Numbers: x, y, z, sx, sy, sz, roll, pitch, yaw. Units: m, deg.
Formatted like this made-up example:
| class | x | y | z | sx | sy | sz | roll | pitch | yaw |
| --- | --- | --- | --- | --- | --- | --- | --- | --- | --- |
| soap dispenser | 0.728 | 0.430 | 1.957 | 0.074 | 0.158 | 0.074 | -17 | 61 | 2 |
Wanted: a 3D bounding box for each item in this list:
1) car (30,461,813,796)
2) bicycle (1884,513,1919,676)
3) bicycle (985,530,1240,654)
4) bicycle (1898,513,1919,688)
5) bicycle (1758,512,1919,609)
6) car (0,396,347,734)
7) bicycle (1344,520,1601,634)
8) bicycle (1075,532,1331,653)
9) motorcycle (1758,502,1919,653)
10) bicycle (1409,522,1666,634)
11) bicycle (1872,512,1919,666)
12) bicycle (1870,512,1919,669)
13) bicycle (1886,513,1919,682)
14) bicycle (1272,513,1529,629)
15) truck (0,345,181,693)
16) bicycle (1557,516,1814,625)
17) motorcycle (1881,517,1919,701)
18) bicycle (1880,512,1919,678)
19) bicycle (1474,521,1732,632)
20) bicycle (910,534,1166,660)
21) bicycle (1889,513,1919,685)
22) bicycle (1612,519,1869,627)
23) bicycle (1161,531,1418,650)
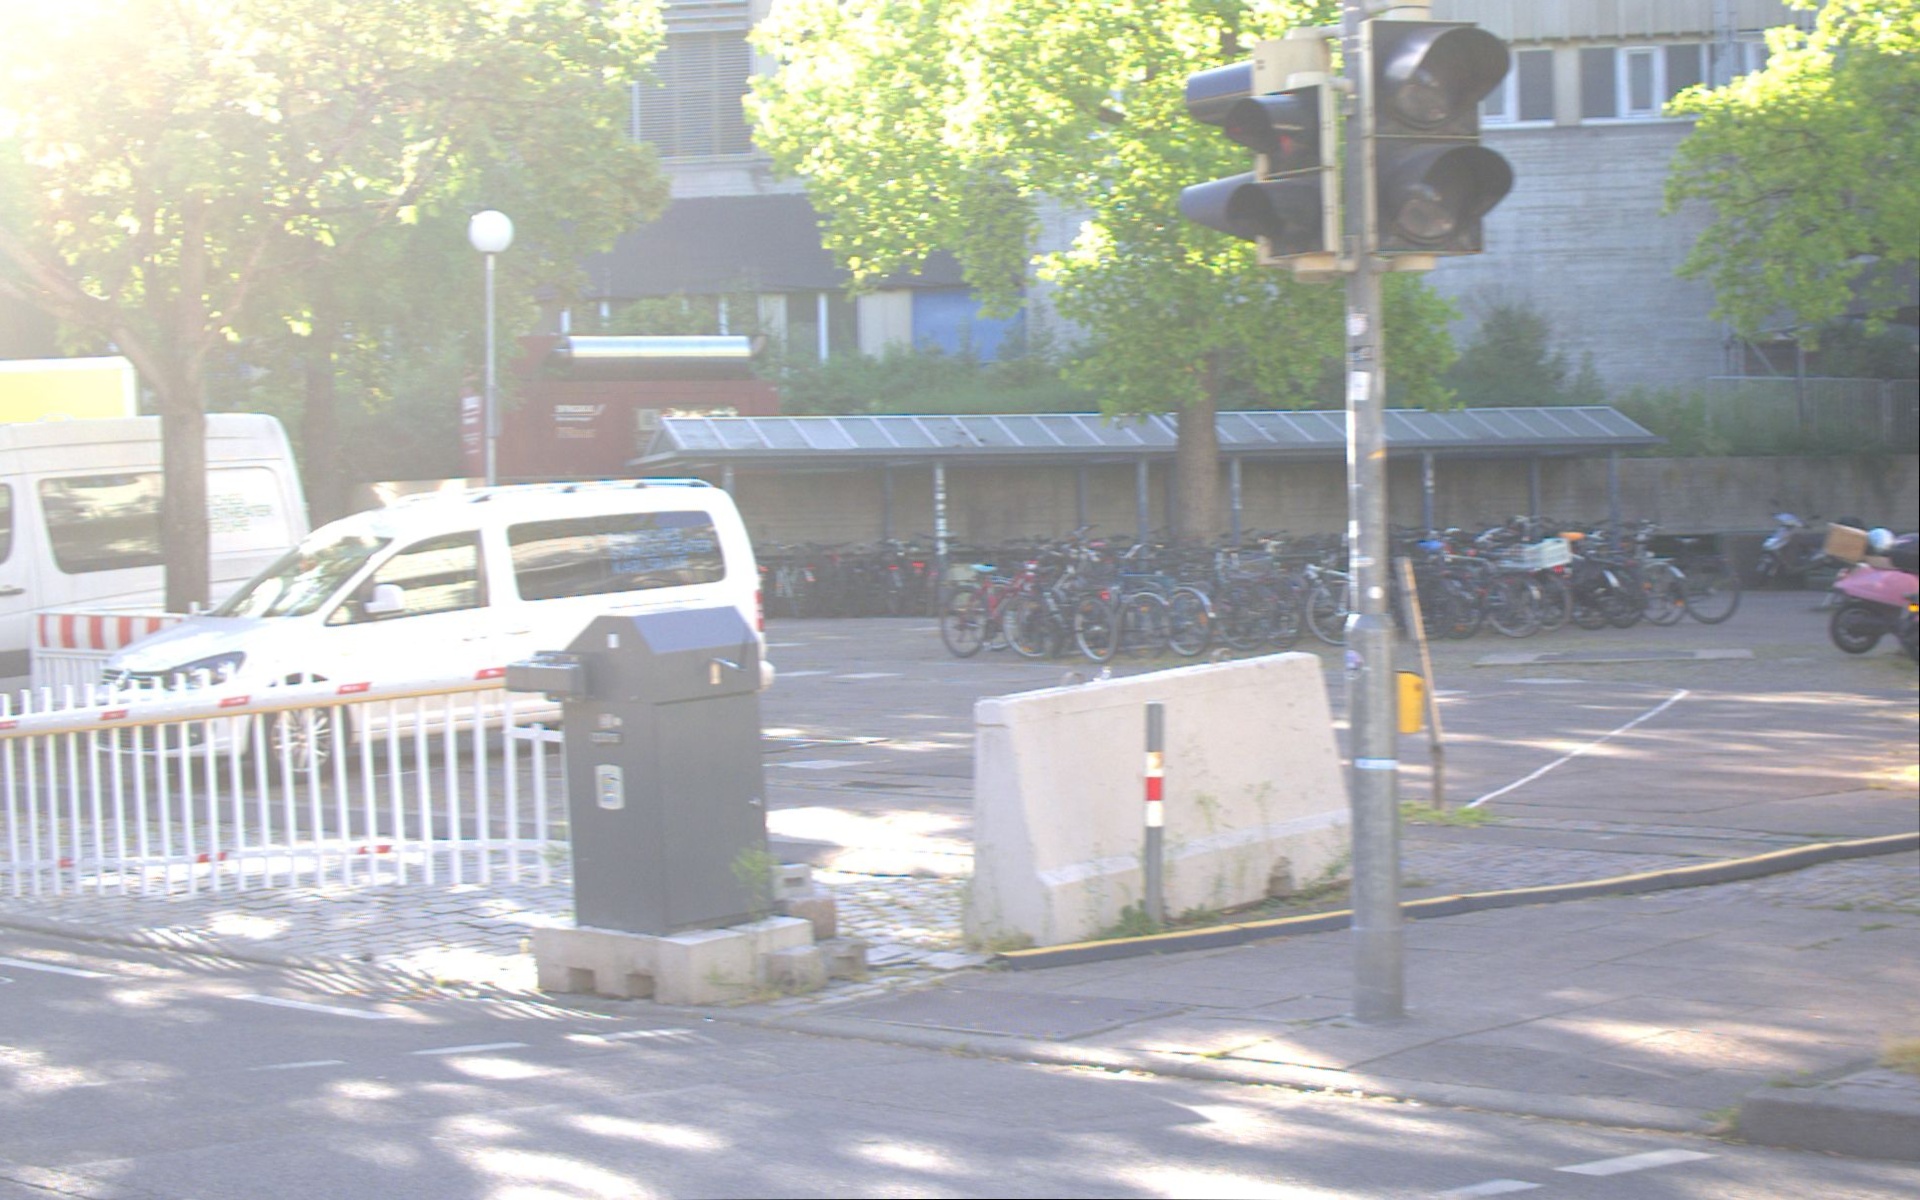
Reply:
| class | x | y | z | sx | sy | sz | roll | pitch | yaw |
| --- | --- | --- | --- | --- | --- | --- | --- | --- | --- |
| car | -3.672 | 0.114 | 23.966 | 4.933 | 1.886 | 2.010 | -5 | 3 | -37 |
| bicycle | 8.309 | -0.081 | 26.835 | 2.044 | 1.253 | 0.543 | -2 | 1 | 10 |
| bicycle | 1.467 | -0.075 | 33.993 | 0.819 | 1.143 | 3.089 | -3 | 2 | -34 |
| bicycle | 7.872 | -0.033 | 24.837 | 2.044 | 1.253 | 0.471 | -2 | 1 | 10 |
| bicycle | 11.119 | -0.479 | 41.599 | 0.819 | 1.143 | 3.089 | -3 | 2 | -34 |
| car | -7.950 | -0.244 | 28.366 | 1.999 | 2.521 | 5.368 | -1 | 5 | 45 |
| bicycle | 5.439 | -0.243 | 36.710 | 0.819 | 1.143 | 3.089 | -3 | 2 | -34 |
| bicycle | 2.406 | -0.076 | 34.653 | 0.819 | 1.143 | 3.089 | -3 | 2 | -34 |
| motorcycle | 8.094 | -0.212 | 29.857 | 2.205 | 1.253 | 0.543 | -2 | 1 | 10 |
| bicycle | 6.204 | -0.233 | 37.174 | 0.819 | 1.143 | 3.089 | -3 | 2 | -34 |
| bicycle | 8.680 | -0.123 | 28.586 | 2.044 | 1.253 | 0.543 | -2 | 1 | 10 |
| bicycle | 8.515 | -0.109 | 28.012 | 2.044 | 1.253 | 0.543 | -2 | 1 | 10 |
| bicycle | 8.047 | -0.056 | 25.804 | 2.044 | 1.253 | 0.471 | -2 | 1 | 10 |
| bicycle | 4.588 | -0.292 | 36.118 | 0.819 | 1.143 | 3.089 | -3 | 2 | -34 |
| truck | -11.335 | -0.657 | 32.999 | 7.101 | 3.336 | 2.389 | -5 | 3 | -42 |
| bicycle | 8.047 | -0.318 | 38.323 | 0.819 | 1.143 | 3.089 | -3 | 2 | -34 |
| motorcycle | 7.554 | 0.025 | 23.786 | 2.205 | 1.253 | 0.543 | -2 | 1 | 10 |
| bicycle | 8.135 | -0.068 | 26.309 | 2.044 | 1.253 | 0.471 | -2 | 1 | 10 |
| bicycle | 7.015 | -0.253 | 37.714 | 0.819 | 1.143 | 3.089 | -3 | 2 | -34 |
| bicycle | 0.720 | -0.031 | 33.338 | 0.819 | 1.143 | 3.089 | -3 | 2 | -34 |
| bicycle | 7.940 | -0.043 | 25.326 | 2.044 | 1.253 | 0.471 | -2 | 1 | 10 |
| bicycle | 8.792 | -0.296 | 38.890 | 0.819 | 1.143 | 3.089 | -3 | 2 | -34 |
| bicycle | 3.330 | -0.097 | 35.202 | 0.819 | 1.143 | 3.089 | -3 | 2 | -34 |
